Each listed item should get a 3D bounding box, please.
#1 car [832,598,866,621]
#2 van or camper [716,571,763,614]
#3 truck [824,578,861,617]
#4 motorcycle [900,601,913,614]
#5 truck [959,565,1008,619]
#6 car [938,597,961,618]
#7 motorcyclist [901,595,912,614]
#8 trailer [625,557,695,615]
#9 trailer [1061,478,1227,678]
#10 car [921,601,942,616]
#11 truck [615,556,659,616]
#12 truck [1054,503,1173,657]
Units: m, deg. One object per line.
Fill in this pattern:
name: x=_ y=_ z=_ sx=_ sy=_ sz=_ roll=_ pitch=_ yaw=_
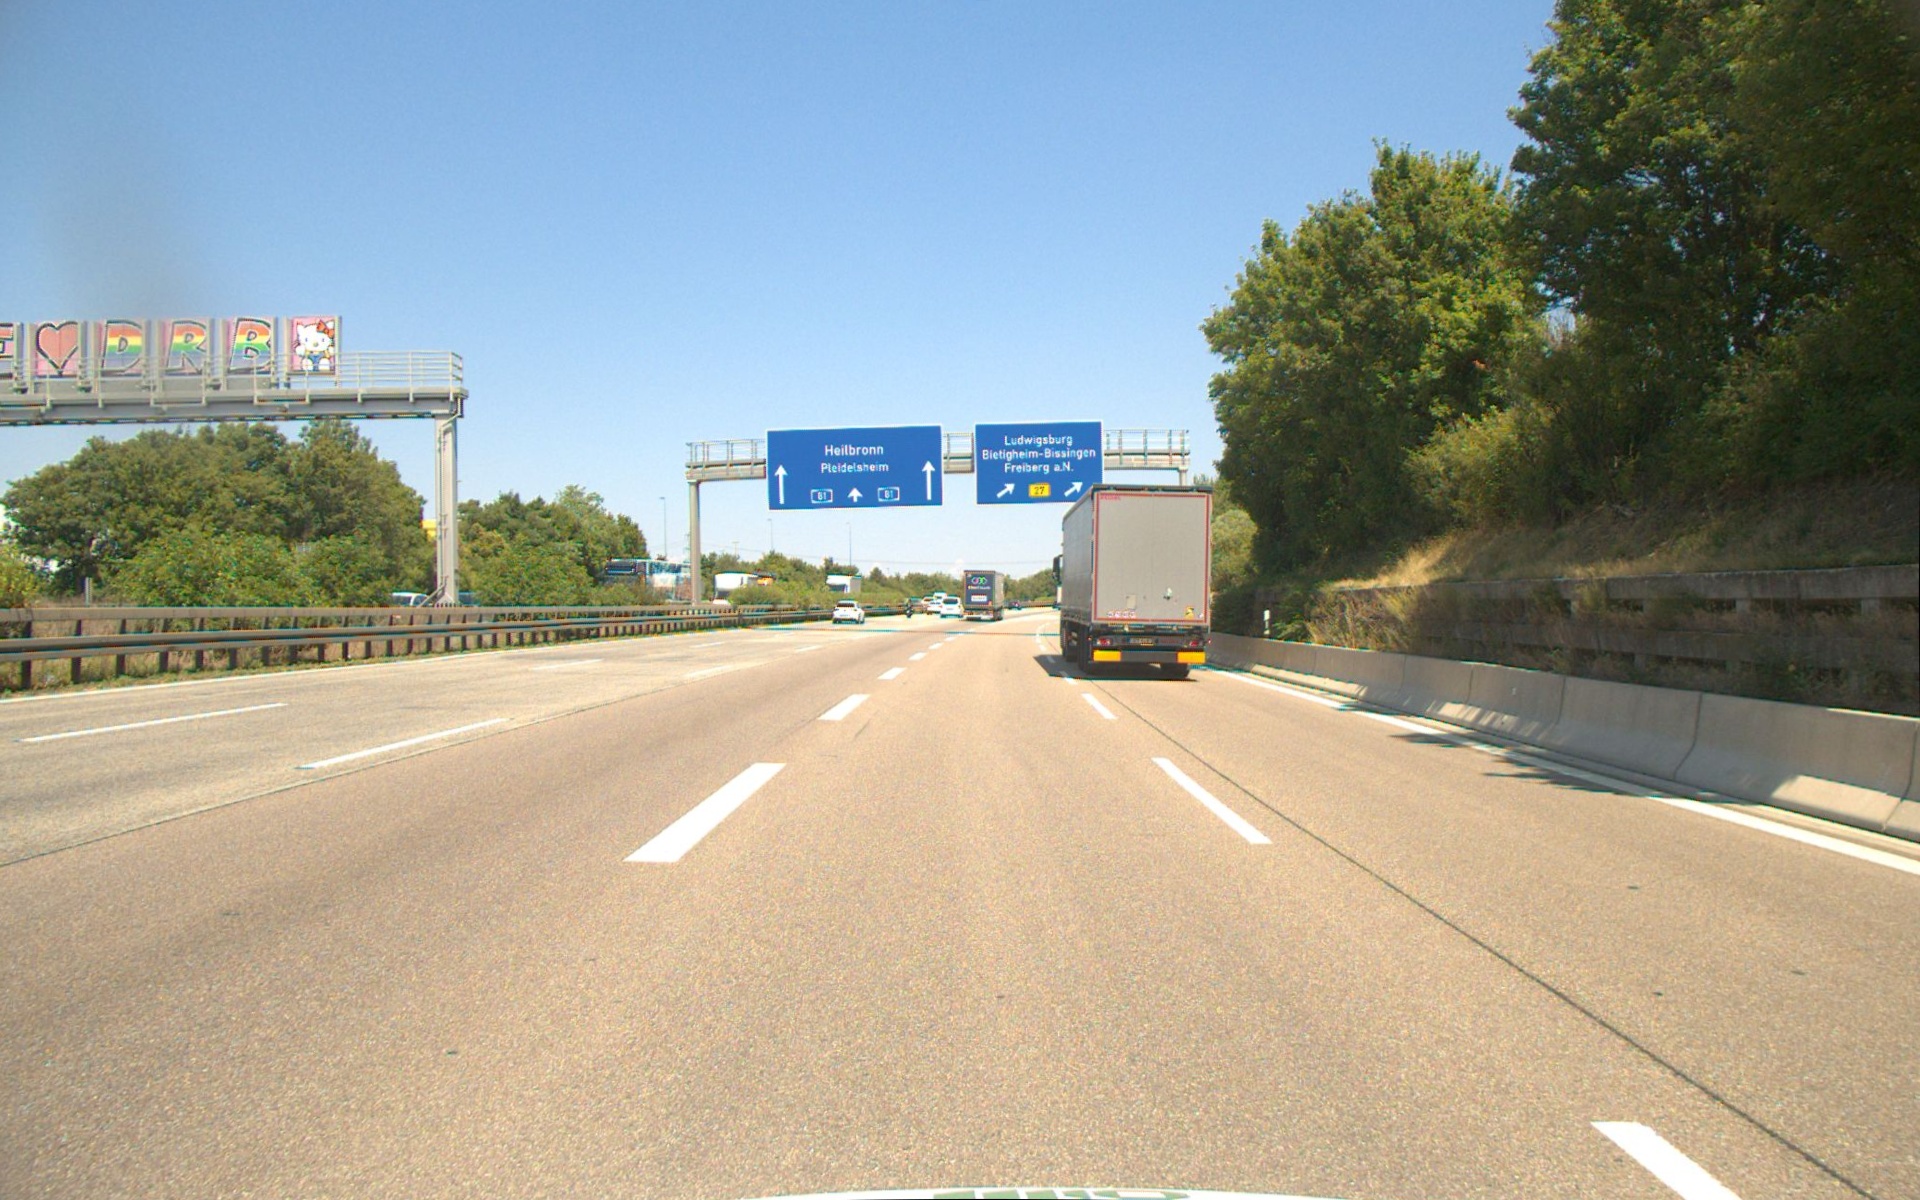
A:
car: x=-7.259 y=0.657 z=108.465 sx=1.744 sy=1.466 sz=4.670 roll=0 pitch=-1 yaw=3
van or camper: x=-17.467 y=-0.590 z=131.347 sx=2.423 sy=3.277 sz=7.824 roll=1 pitch=0 yaw=2
truck: x=-13.095 y=-0.266 z=185.420 sx=2.695 sy=4.281 sz=10.407 roll=1 pitch=0 yaw=3
motorcycle: x=-4.683 y=0.685 z=144.296 sx=0.894 sy=1.108 sz=2.850 roll=0 pitch=0 yaw=2
truck: x=2.118 y=-0.617 z=140.367 sx=3.669 sy=4.345 sz=14.499 roll=1 pitch=0 yaw=2
car: x=-0.979 y=0.685 z=154.204 sx=1.890 sy=1.884 sz=4.694 roll=-1 pitch=-1 yaw=3
motorcyclist: x=-4.683 y=0.421 z=144.321 sx=0.874 sy=1.625 sz=1.300 roll=0 pitch=0 yaw=3
trailer: x=-21.778 y=-0.940 z=120.748 sx=1.952 sy=3.991 sz=14.006 roll=1 pitch=0 yaw=2
trailer: x=4.143 y=-0.521 z=39.988 sx=2.867 sy=4.085 sz=12.040 roll=0 pitch=1 yaw=1
car: x=-2.956 y=0.919 z=174.614 sx=1.837 sy=1.466 sz=5.127 roll=0 pitch=-2 yaw=3
truck: x=-22.089 y=-0.941 z=113.269 sx=1.952 sy=3.965 sz=4.342 roll=1 pitch=0 yaw=2
truck: x=4.302 y=-0.586 z=47.857 sx=2.867 sy=4.085 sz=7.584 roll=0 pitch=1 yaw=1
